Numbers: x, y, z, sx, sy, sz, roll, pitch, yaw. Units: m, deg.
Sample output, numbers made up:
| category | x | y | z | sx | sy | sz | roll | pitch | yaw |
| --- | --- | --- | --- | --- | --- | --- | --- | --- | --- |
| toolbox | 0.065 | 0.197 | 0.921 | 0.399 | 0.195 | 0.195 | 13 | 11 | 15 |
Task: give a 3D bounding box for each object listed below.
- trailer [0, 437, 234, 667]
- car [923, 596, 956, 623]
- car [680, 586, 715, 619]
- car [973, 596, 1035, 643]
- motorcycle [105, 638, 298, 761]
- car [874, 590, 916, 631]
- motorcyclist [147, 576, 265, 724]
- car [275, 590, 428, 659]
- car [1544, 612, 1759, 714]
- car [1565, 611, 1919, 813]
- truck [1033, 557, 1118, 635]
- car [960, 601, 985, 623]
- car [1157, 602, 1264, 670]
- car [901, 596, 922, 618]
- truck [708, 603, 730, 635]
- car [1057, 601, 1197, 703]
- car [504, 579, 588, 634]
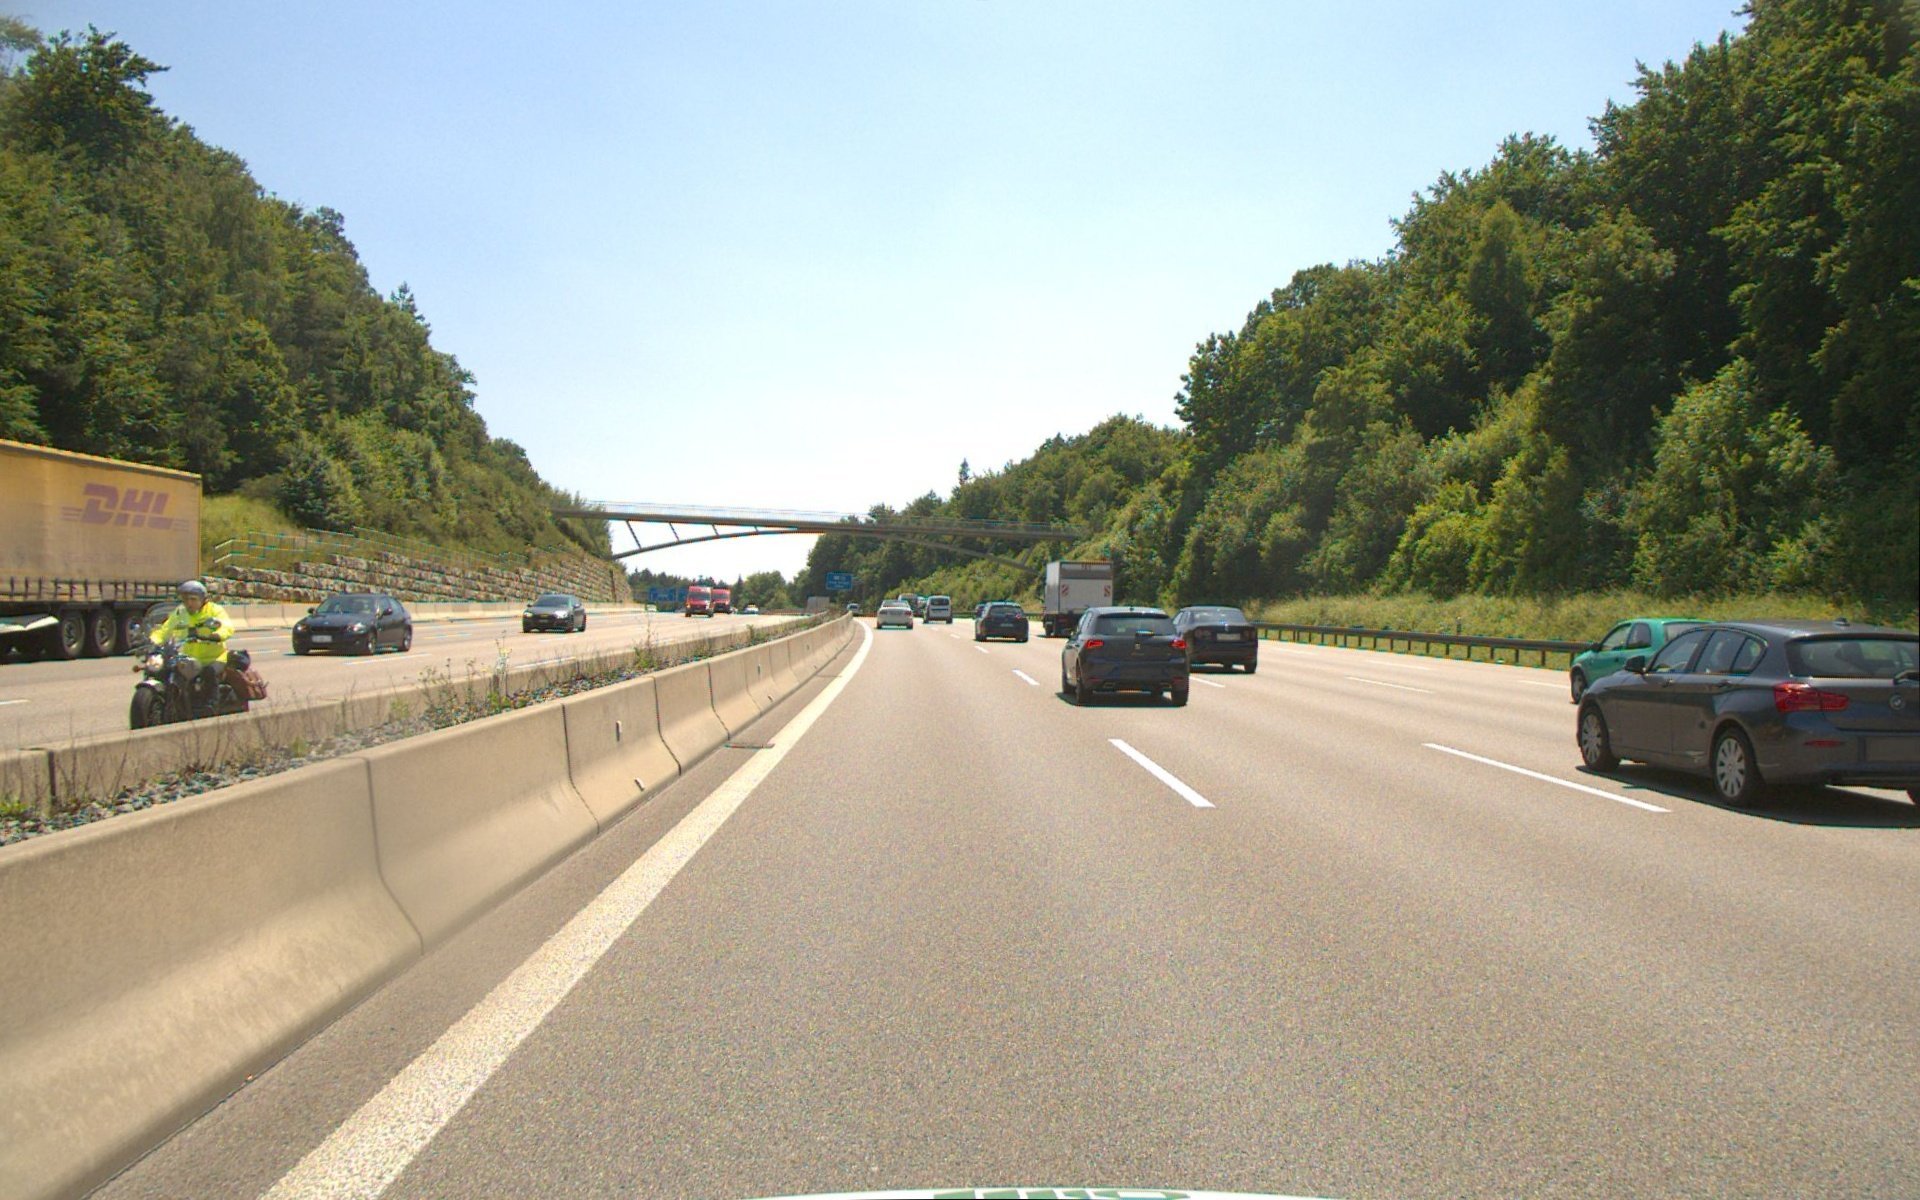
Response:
| category | x | y | z | sx | sy | sz | roll | pitch | yaw |
| --- | --- | --- | --- | --- | --- | --- | --- | --- | --- |
| trailer | -18.417 | -0.867 | 32.253 | 2.667 | 4.074 | 13.721 | 1 | 0 | -1 |
| car | -1.395 | 0.627 | 111.074 | 2.061 | 1.775 | 4.685 | 1 | 0 | -2 |
| car | -19.835 | 0.191 | 125.227 | 1.953 | 2.377 | 5.541 | 1 | 0 | -2 |
| car | 1.594 | 0.699 | 62.065 | 1.954 | 1.662 | 4.757 | 1 | 0 | -3 |
| motorcycle | -7.308 | 0.918 | 16.094 | 0.712 | 1.031 | 2.527 | 1 | 0 | 0 |
| car | -3.351 | 0.571 | 85.041 | 1.973 | 1.878 | 3.995 | 2 | -4 | -4 |
| motorcyclist | -7.296 | 0.472 | 16.043 | 0.713 | 1.384 | 0.905 | 1 | 0 | -1 |
| car | -14.267 | 0.538 | 39.079 | 1.953 | 1.509 | 4.579 | 1 | 0 | -1 |
| car | 10.940 | 0.939 | 26.492 | 1.513 | 1.469 | 4.339 | 1 | 0 | -2 |
| car | 6.736 | 0.818 | 13.912 | 1.668 | 1.420 | 4.152 | 1 | 0 | -2 |
| truck | 5.044 | -0.167 | 73.722 | 2.926 | 3.222 | 7.570 | 1 | 0 | -3 |
| car | 1.092 | 1.099 | 151.862 | 2.102 | 1.890 | 3.999 | 2 | 1 | -2 |
| car | 5.727 | 0.793 | 38.339 | 1.631 | 1.433 | 4.902 | 1 | 0 | -1 |
| car | -5.433 | 0.822 | 185.023 | 2.219 | 2.413 | 4.700 | 1 | -1 | -1 |
| truck | -24.408 | 1.903 | 167.673 | 2.071 | 3.028 | 7.001 | 2 | 1 | -9 |
| car | 2.557 | 0.768 | 26.161 | 1.673 | 1.458 | 3.998 | 1 | 0 | -2 |
| car | -15.492 | 0.279 | 62.139 | 1.954 | 1.904 | 5.248 | 2 | -1 | -2 |
